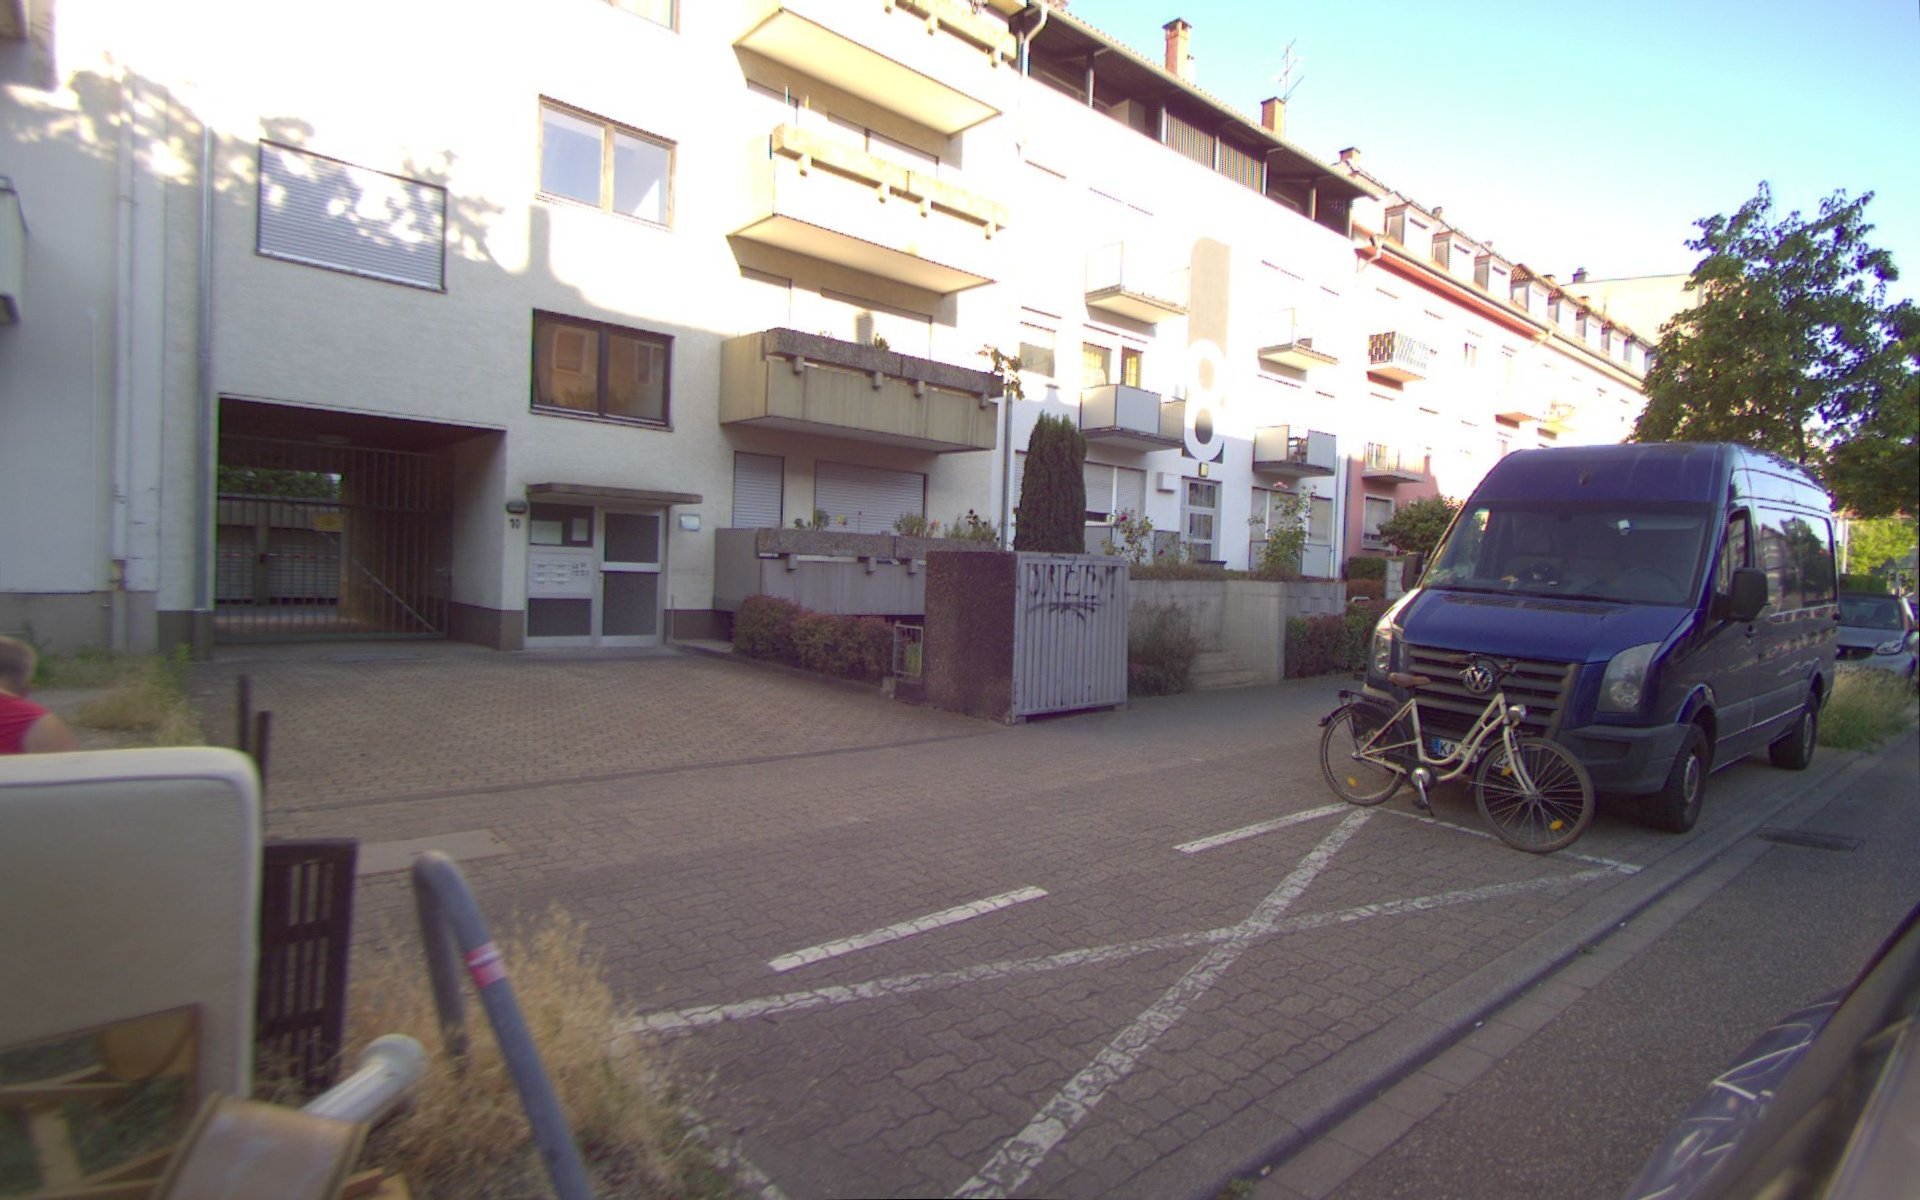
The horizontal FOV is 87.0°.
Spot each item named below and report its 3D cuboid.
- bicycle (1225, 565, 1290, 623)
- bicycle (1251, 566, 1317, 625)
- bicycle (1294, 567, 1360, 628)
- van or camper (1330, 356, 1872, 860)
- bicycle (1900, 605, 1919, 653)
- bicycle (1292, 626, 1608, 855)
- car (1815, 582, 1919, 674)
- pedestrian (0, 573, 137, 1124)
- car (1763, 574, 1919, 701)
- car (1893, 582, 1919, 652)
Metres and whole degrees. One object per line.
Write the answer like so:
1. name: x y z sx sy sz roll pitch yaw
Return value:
1. bicycle: 5.982 -0.117 20.310 1.518 1.102 0.493 1 2 -42
2. bicycle: 6.347 -0.089 19.804 1.518 1.102 0.493 1 2 -42
3. bicycle: 6.984 -0.051 19.243 1.518 1.102 0.493 1 2 -42
4. van or camper: 5.483 -0.027 8.179 5.886 2.708 2.072 -1 3 -41
5. bicycle: 22.359 0.694 22.928 1.473 1.072 0.406 3 2 37
6. bicycle: 2.900 0.768 6.170 0.397 1.102 1.706 1 2 -38
7. car: 17.527 0.477 18.941 4.668 1.504 1.922 0 2 -45
8. pedestrian: -2.579 0.574 2.573 0.689 1.270 0.798 1 2 -43
9. car: 13.769 0.471 15.466 3.694 1.662 1.775 -1 3 -43
10. car: 24.874 0.444 25.355 4.216 1.671 1.736 1 2 -42
